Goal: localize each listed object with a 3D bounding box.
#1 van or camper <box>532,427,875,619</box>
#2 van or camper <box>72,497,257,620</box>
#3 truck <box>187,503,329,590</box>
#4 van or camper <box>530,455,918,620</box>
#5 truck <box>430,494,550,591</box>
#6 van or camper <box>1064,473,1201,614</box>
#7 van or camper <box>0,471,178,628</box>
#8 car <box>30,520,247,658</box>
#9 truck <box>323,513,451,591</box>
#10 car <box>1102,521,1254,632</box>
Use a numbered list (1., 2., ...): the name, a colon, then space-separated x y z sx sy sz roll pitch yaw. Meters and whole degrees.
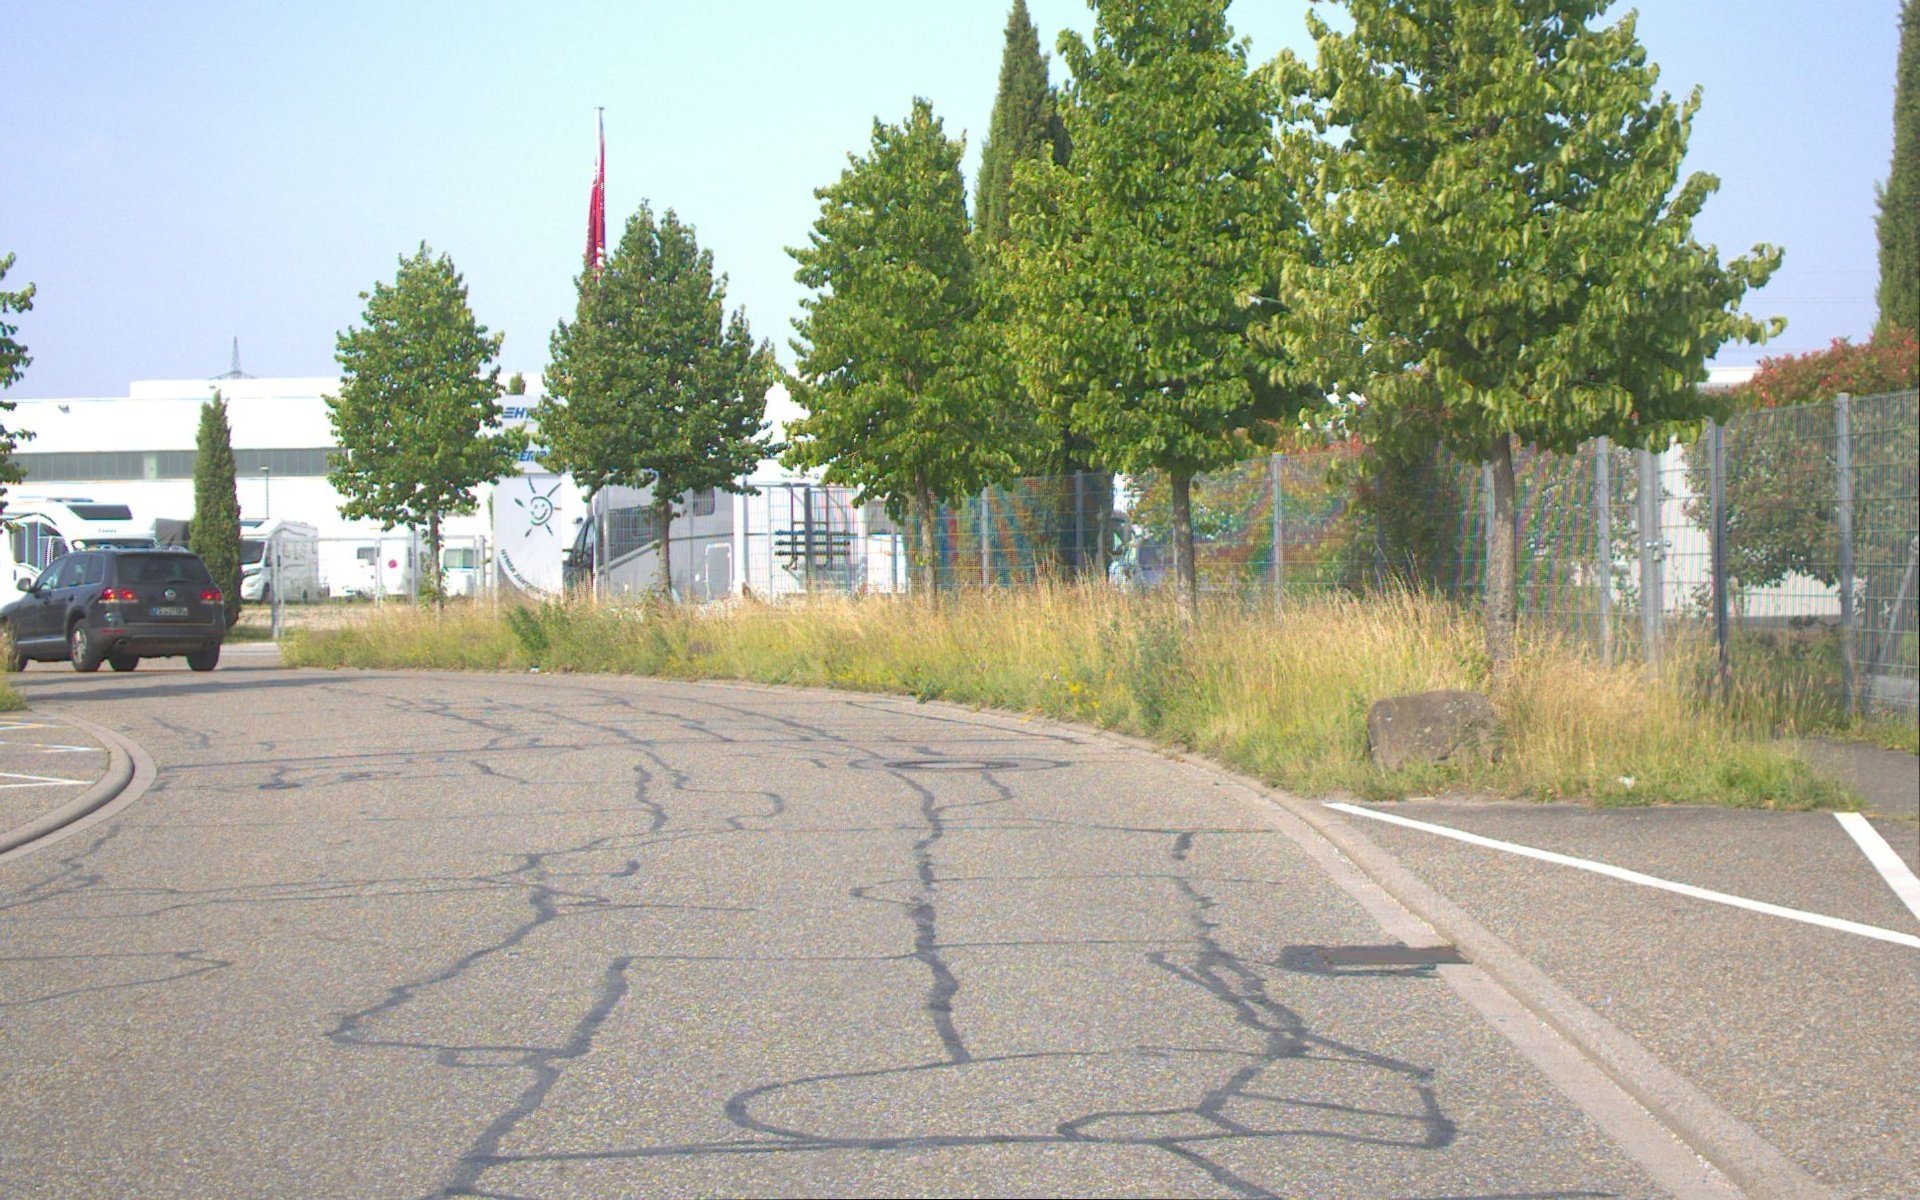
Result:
1. van or camper: -4.200 -1.165 54.607 2.349 2.838 7.342 -1 1 -31
2. van or camper: -17.206 -0.947 74.719 2.483 2.550 6.626 0 1 0
3. truck: -20.731 -1.592 101.912 2.450 2.462 8.002 0 1 1
4. van or camper: -4.565 -1.200 66.103 7.257 3.021 2.586 -1 1 -6
5. truck: -14.205 -1.769 104.493 2.450 2.816 8.002 0 1 1
6. van or camper: 3.640 -1.168 73.891 2.320 2.854 6.610 -1 0 -2
7. van or camper: -17.995 -1.004 67.711 2.331 2.933 6.969 -1 1 -38
8. car: -11.330 -0.176 47.242 1.993 1.798 4.001 -1 1 -27
9. truck: -17.350 -1.477 104.564 2.450 2.257 8.002 0 1 1
10. car: 3.356 -0.391 53.535 1.722 1.637 4.001 1 1 -6
